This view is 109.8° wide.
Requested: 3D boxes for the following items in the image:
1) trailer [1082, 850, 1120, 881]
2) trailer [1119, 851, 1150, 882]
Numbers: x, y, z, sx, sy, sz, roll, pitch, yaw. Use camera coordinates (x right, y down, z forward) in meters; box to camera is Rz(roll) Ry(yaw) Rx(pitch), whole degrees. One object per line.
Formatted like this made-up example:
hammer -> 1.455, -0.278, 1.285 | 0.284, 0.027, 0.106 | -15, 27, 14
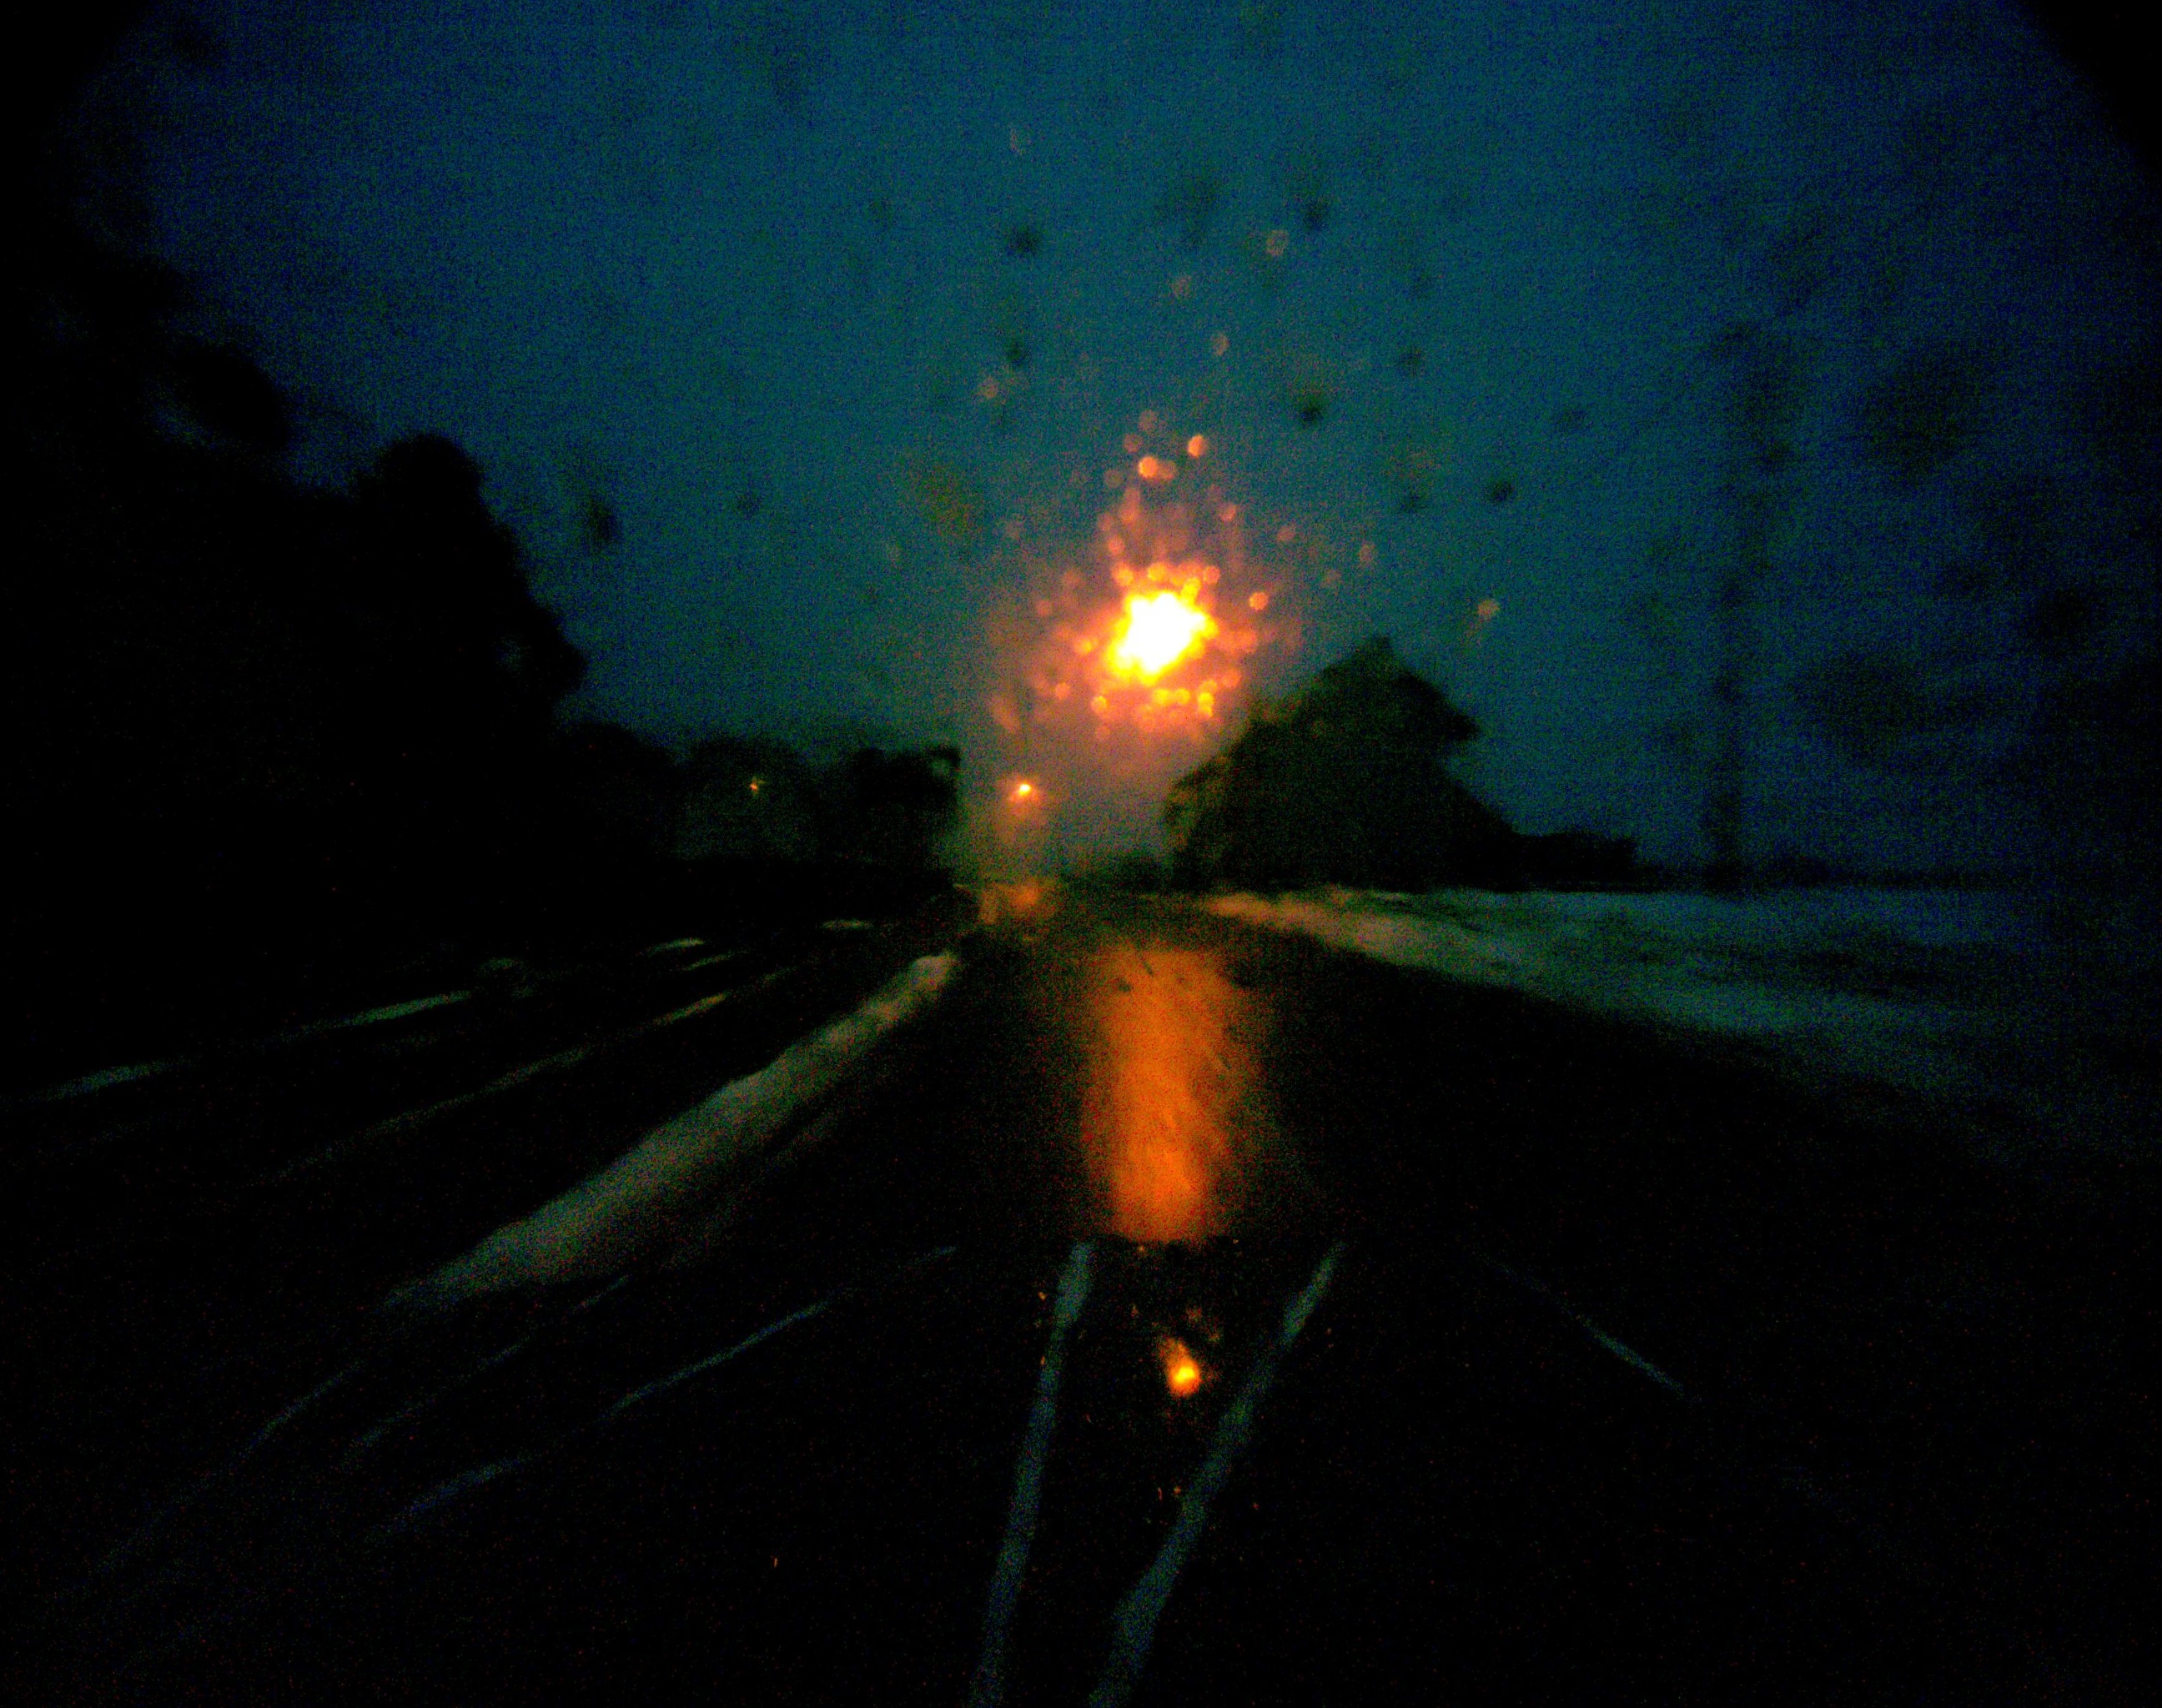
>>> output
trailer -> 1.728, 1.026, 66.417 | 1.698, 2.589, 3.437 | 4, -3, -31
trailer -> 4.556, 1.133, 65.209 | 1.999, 2.473, 4.011 | 3, -3, -3
